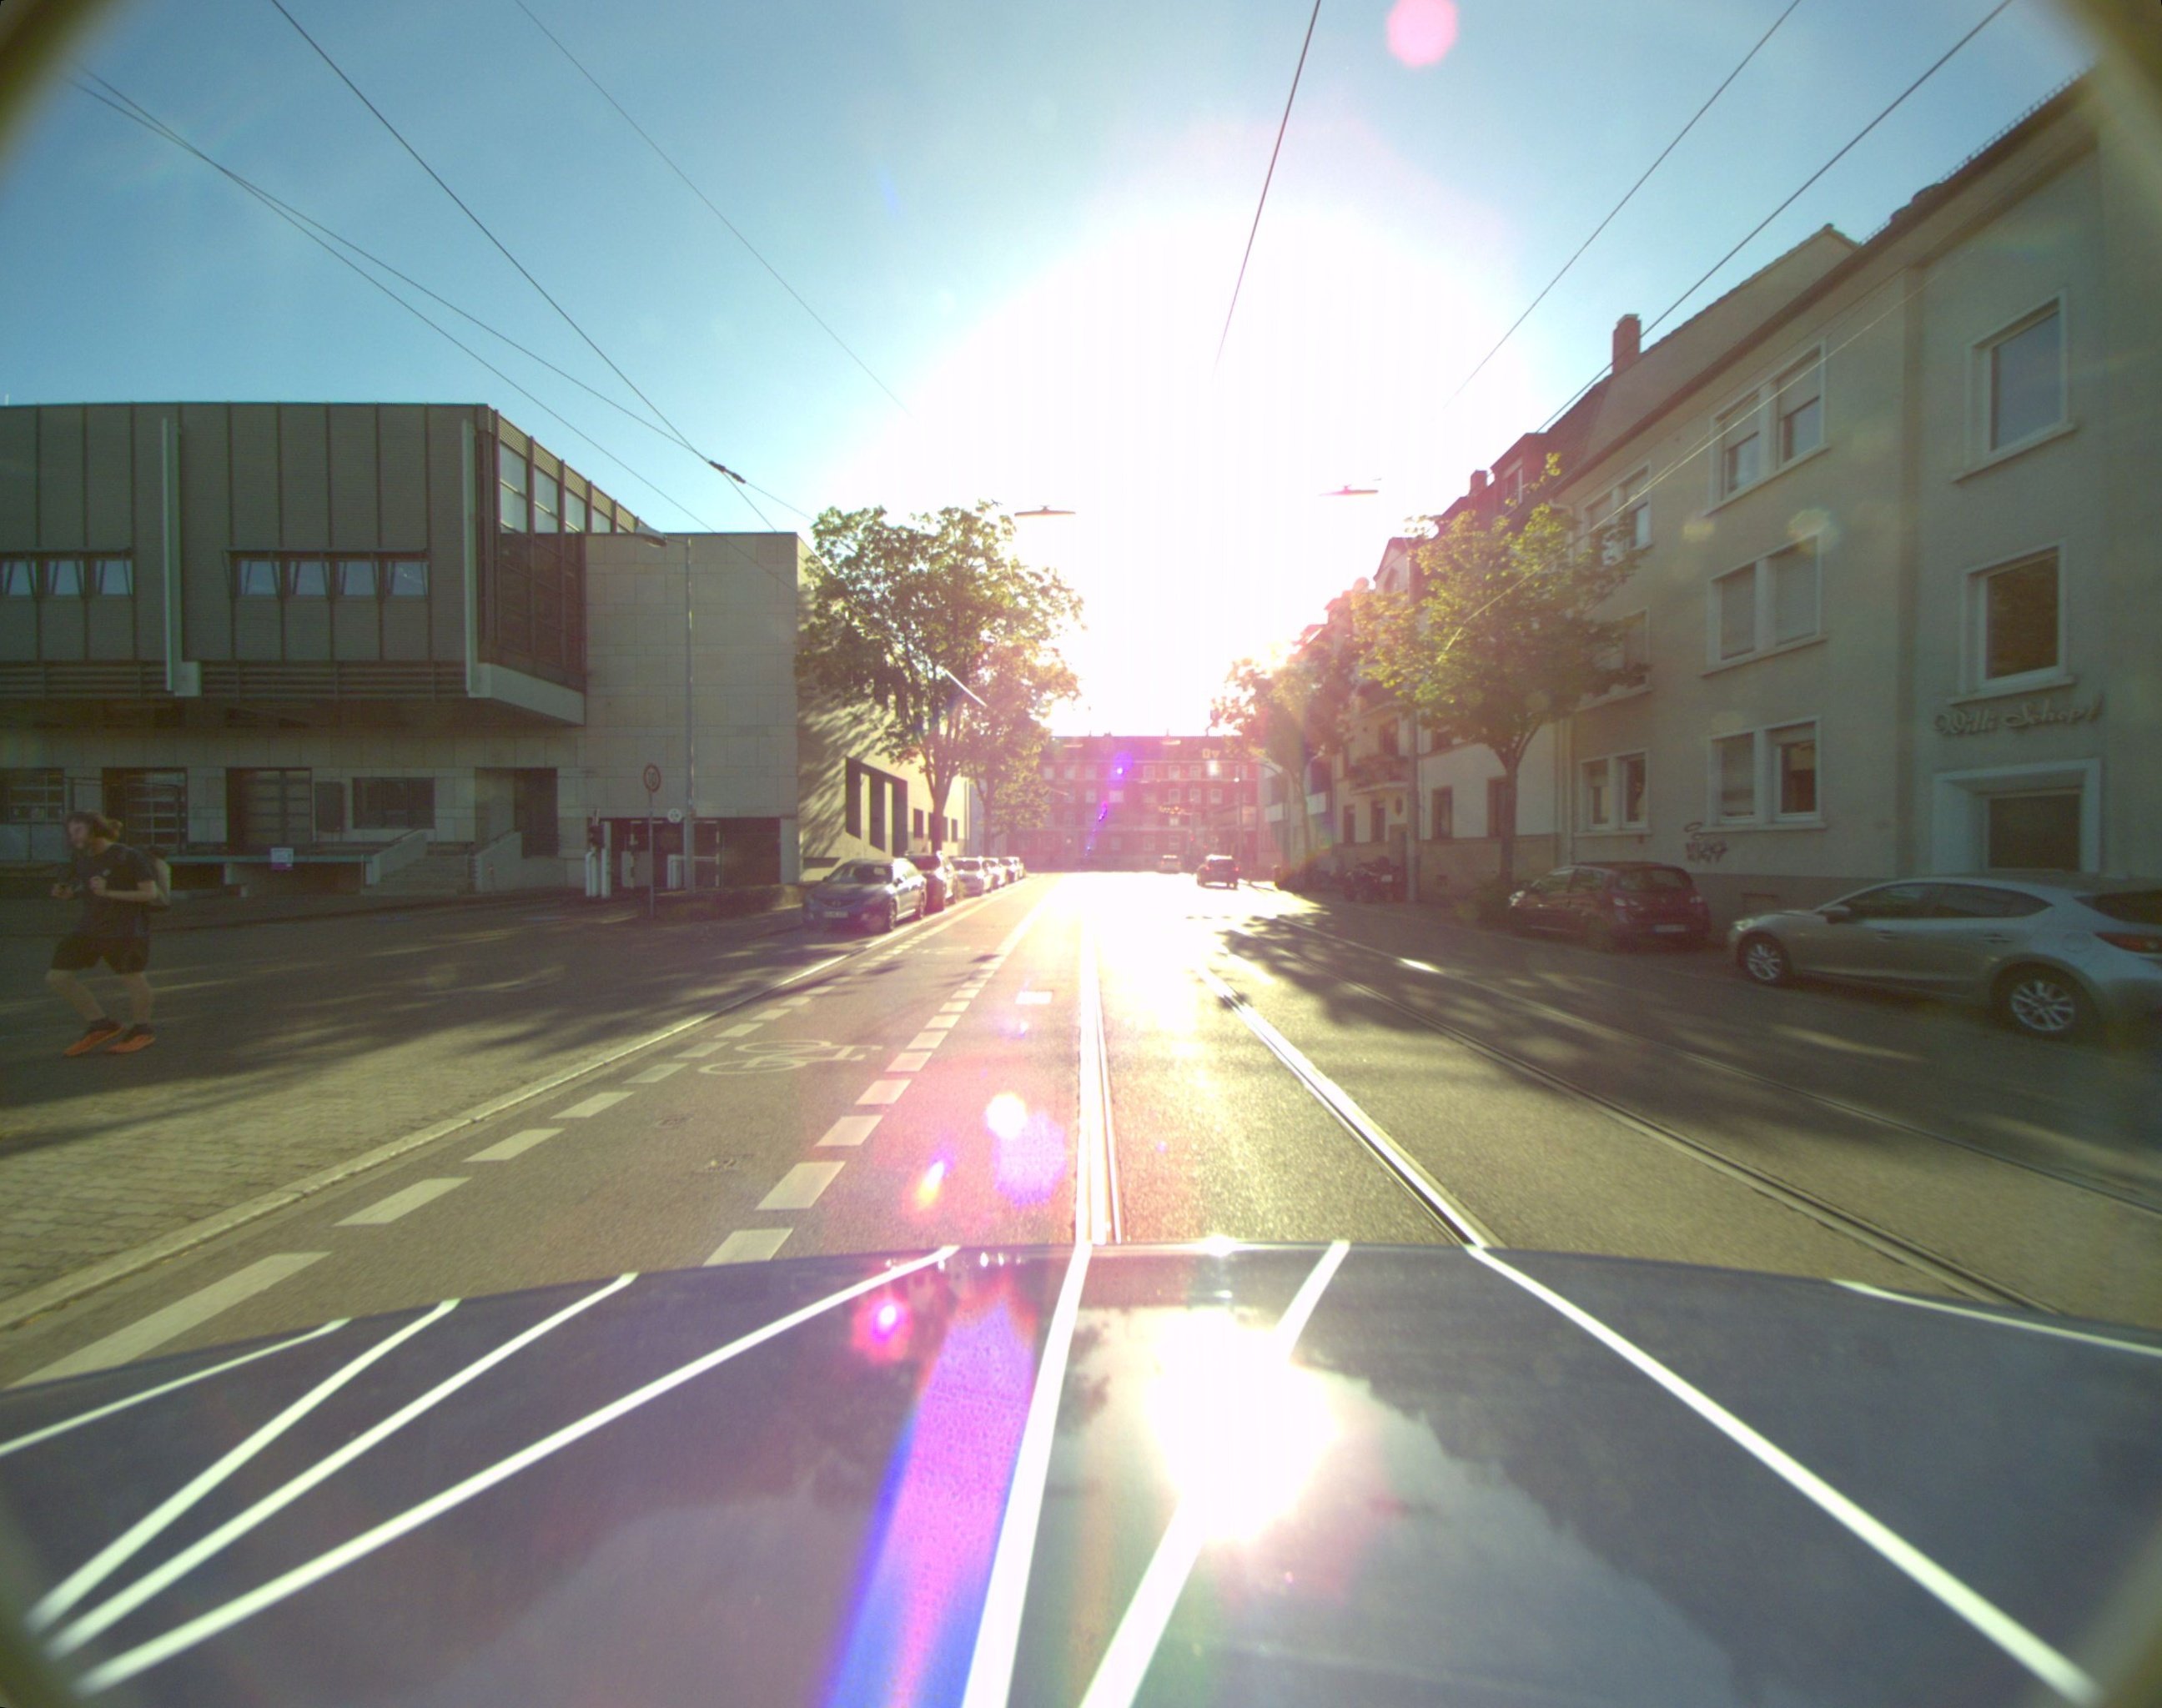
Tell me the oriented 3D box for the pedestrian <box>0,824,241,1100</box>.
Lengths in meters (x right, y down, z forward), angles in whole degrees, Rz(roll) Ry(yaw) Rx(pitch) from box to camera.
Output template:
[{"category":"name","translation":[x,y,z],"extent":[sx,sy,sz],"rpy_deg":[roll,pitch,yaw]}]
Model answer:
[{"category":"pedestrian","translation":[-7.308,0.699,5.623],"extent":[0.672,1.779,1.304],"rpy_deg":[4,1,0]}]

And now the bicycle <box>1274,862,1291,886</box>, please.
[{"category":"bicycle","translation":[9.129,0.892,34.457],"extent":[0.303,1.036,1.661],"rpy_deg":[-1,1,1]}]

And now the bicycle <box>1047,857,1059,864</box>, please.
[{"category":"bicycle","translation":[-3.889,0.868,106.633],"extent":[1.676,0.943,0.554],"rpy_deg":[-1,1,0]}]

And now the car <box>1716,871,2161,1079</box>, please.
[{"category":"car","translation":[9.321,0.987,7.904],"extent":[1.878,1.420,4.292],"rpy_deg":[-1,1,1]}]

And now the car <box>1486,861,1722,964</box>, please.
[{"category":"car","translation":[9.213,0.930,13.837],"extent":[1.576,1.496,3.999],"rpy_deg":[-1,1,1]}]

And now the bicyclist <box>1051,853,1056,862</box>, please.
[{"category":"bicyclist","translation":[-3.892,0.498,106.617],"extent":[0.668,1.217,0.554],"rpy_deg":[-1,1,0]}]

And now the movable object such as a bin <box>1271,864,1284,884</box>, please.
[{"category":"movable object such as a bin","translation":[9.218,0.942,35.653],"extent":[0.425,0.930,0.582],"rpy_deg":[-1,1,1]}]

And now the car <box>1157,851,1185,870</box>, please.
[{"category":"car","translation":[7.579,0.524,64.254],"extent":[1.923,1.516,3.999],"rpy_deg":[-1,1,1]}]

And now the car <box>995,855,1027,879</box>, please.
[{"category":"car","translation":[-4.587,0.843,50.437],"extent":[1.654,1.471,3.999],"rpy_deg":[-1,1,1]}]

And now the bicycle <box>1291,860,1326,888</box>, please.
[{"category":"bicycle","translation":[9.647,0.845,32.216],"extent":[1.344,1.163,0.409],"rpy_deg":[-1,1,1]}]

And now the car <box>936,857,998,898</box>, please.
[{"category":"car","translation":[-4.432,0.856,30.207],"extent":[1.716,1.481,4.623],"rpy_deg":[1,0,0]}]

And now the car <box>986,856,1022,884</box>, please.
[{"category":"car","translation":[-4.470,0.901,44.518],"extent":[1.682,1.400,4.660],"rpy_deg":[1,1,-1]}]

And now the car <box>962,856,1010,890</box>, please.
[{"category":"car","translation":[-4.441,0.854,36.093],"extent":[1.713,1.400,4.328],"rpy_deg":[1,1,0]}]

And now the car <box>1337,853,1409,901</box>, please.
[{"category":"car","translation":[9.573,0.767,25.064],"extent":[1.358,1.493,2.548],"rpy_deg":[-1,-2,1]}]

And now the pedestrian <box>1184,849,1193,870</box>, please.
[{"category":"pedestrian","translation":[9.604,0.489,67.792],"extent":[0.640,1.764,0.583],"rpy_deg":[-1,1,1]}]

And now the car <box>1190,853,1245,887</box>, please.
[{"category":"car","translation":[6.645,0.738,37.501],"extent":[1.770,1.455,4.746],"rpy_deg":[1,1,-1]}]

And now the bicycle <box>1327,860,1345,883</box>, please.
[{"category":"bicycle","translation":[12.033,0.823,35.848],"extent":[0.303,1.036,1.661],"rpy_deg":[-1,1,1]}]

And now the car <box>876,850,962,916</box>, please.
[{"category":"car","translation":[-4.658,0.758,22.413],"extent":[1.746,1.702,4.276],"rpy_deg":[-1,1,-2]}]

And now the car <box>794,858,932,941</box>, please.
[{"category":"car","translation":[-4.705,0.897,17.157],"extent":[1.706,1.473,4.658],"rpy_deg":[2,1,0]}]
